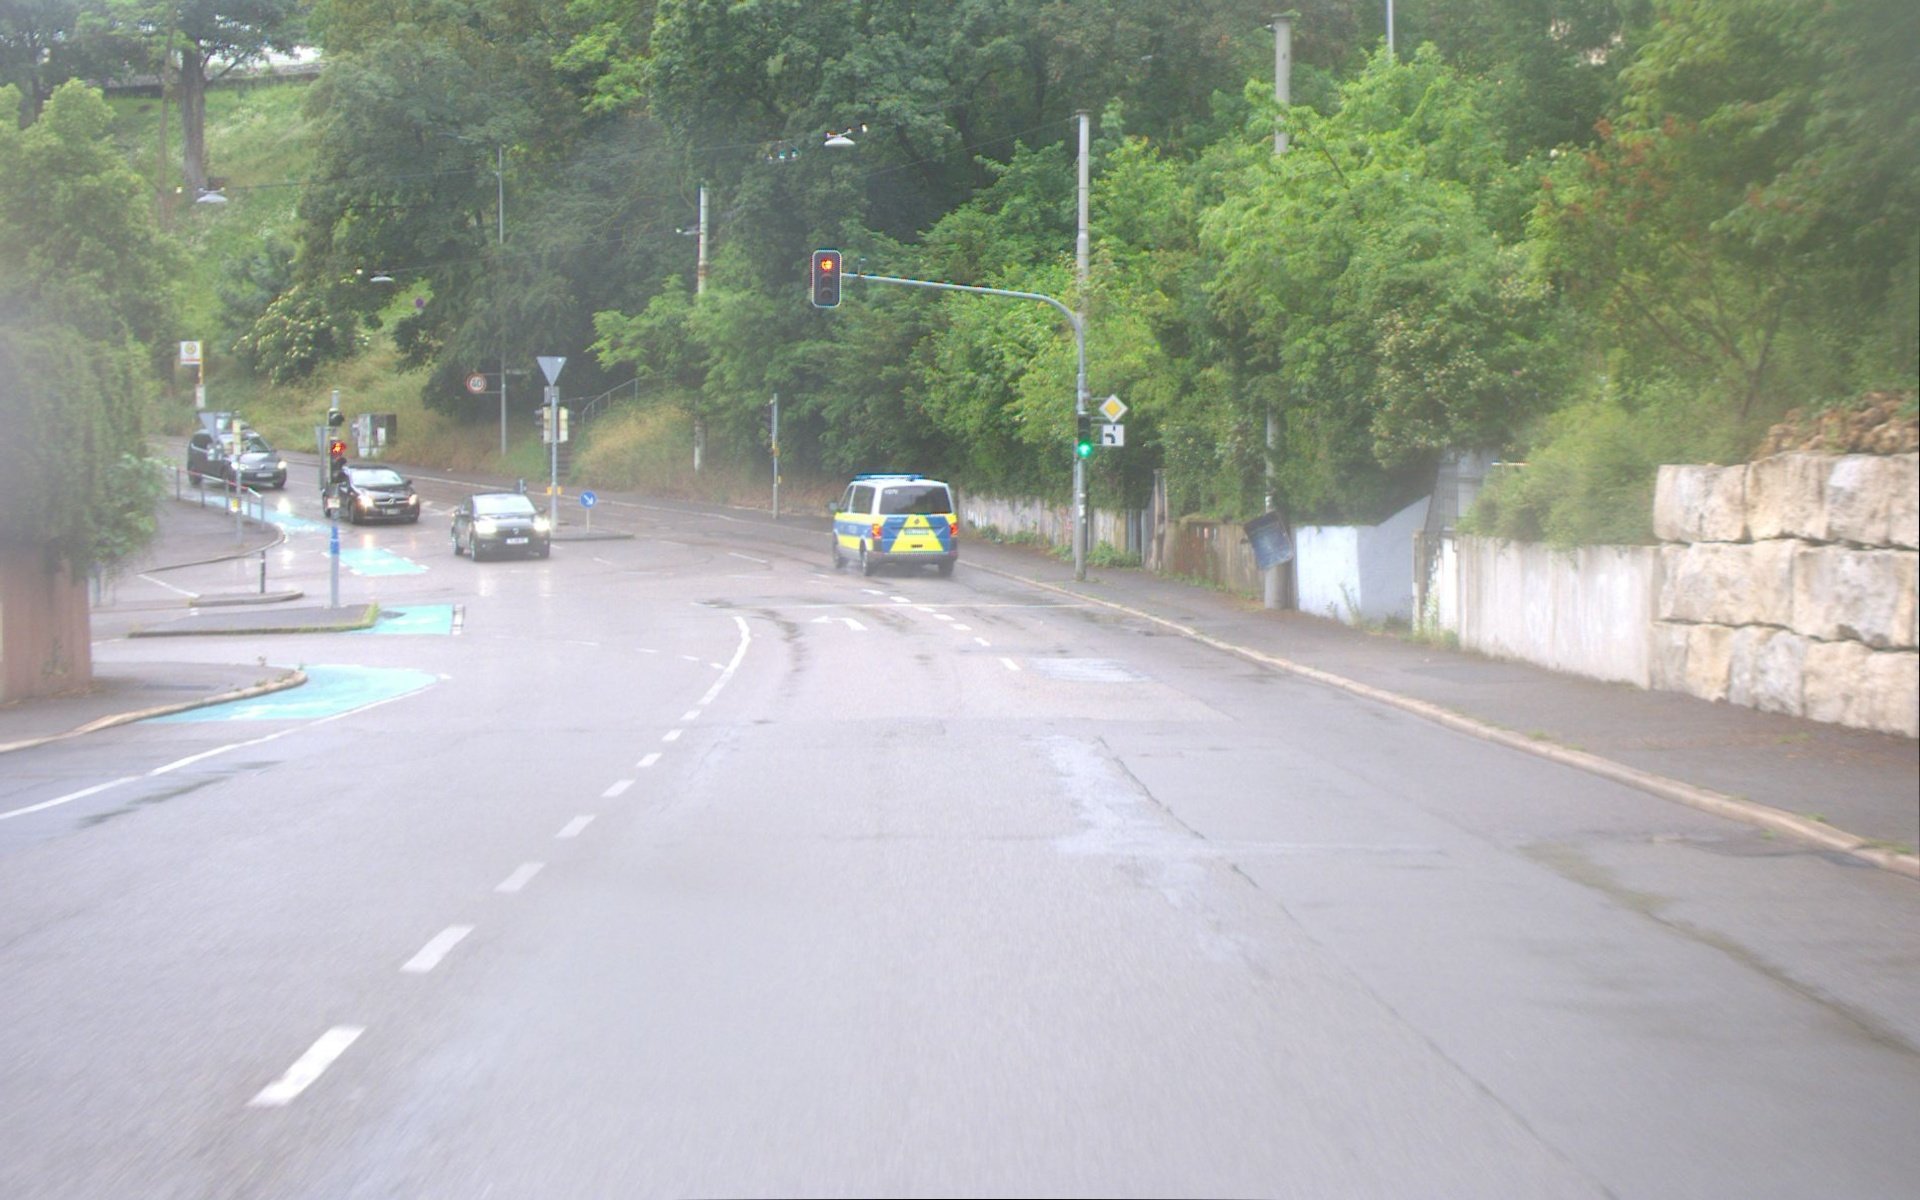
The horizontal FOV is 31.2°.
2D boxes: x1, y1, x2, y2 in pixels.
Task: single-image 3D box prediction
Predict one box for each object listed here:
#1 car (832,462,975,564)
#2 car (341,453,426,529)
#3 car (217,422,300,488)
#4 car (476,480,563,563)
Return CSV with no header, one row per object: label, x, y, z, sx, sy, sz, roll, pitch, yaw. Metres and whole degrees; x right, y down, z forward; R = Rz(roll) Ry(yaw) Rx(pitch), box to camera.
car,-1.221,-1.841,71.502,2.308,1.932,4.326,-3,3,-9
car,-15.394,-2.929,91.696,1.741,1.544,4.003,-5,8,-14
car,-21.156,-4.393,103.580,1.741,1.544,4.003,-4,9,-21
car,-10.166,-1.834,79.170,1.741,1.544,4.002,-4,6,-9
